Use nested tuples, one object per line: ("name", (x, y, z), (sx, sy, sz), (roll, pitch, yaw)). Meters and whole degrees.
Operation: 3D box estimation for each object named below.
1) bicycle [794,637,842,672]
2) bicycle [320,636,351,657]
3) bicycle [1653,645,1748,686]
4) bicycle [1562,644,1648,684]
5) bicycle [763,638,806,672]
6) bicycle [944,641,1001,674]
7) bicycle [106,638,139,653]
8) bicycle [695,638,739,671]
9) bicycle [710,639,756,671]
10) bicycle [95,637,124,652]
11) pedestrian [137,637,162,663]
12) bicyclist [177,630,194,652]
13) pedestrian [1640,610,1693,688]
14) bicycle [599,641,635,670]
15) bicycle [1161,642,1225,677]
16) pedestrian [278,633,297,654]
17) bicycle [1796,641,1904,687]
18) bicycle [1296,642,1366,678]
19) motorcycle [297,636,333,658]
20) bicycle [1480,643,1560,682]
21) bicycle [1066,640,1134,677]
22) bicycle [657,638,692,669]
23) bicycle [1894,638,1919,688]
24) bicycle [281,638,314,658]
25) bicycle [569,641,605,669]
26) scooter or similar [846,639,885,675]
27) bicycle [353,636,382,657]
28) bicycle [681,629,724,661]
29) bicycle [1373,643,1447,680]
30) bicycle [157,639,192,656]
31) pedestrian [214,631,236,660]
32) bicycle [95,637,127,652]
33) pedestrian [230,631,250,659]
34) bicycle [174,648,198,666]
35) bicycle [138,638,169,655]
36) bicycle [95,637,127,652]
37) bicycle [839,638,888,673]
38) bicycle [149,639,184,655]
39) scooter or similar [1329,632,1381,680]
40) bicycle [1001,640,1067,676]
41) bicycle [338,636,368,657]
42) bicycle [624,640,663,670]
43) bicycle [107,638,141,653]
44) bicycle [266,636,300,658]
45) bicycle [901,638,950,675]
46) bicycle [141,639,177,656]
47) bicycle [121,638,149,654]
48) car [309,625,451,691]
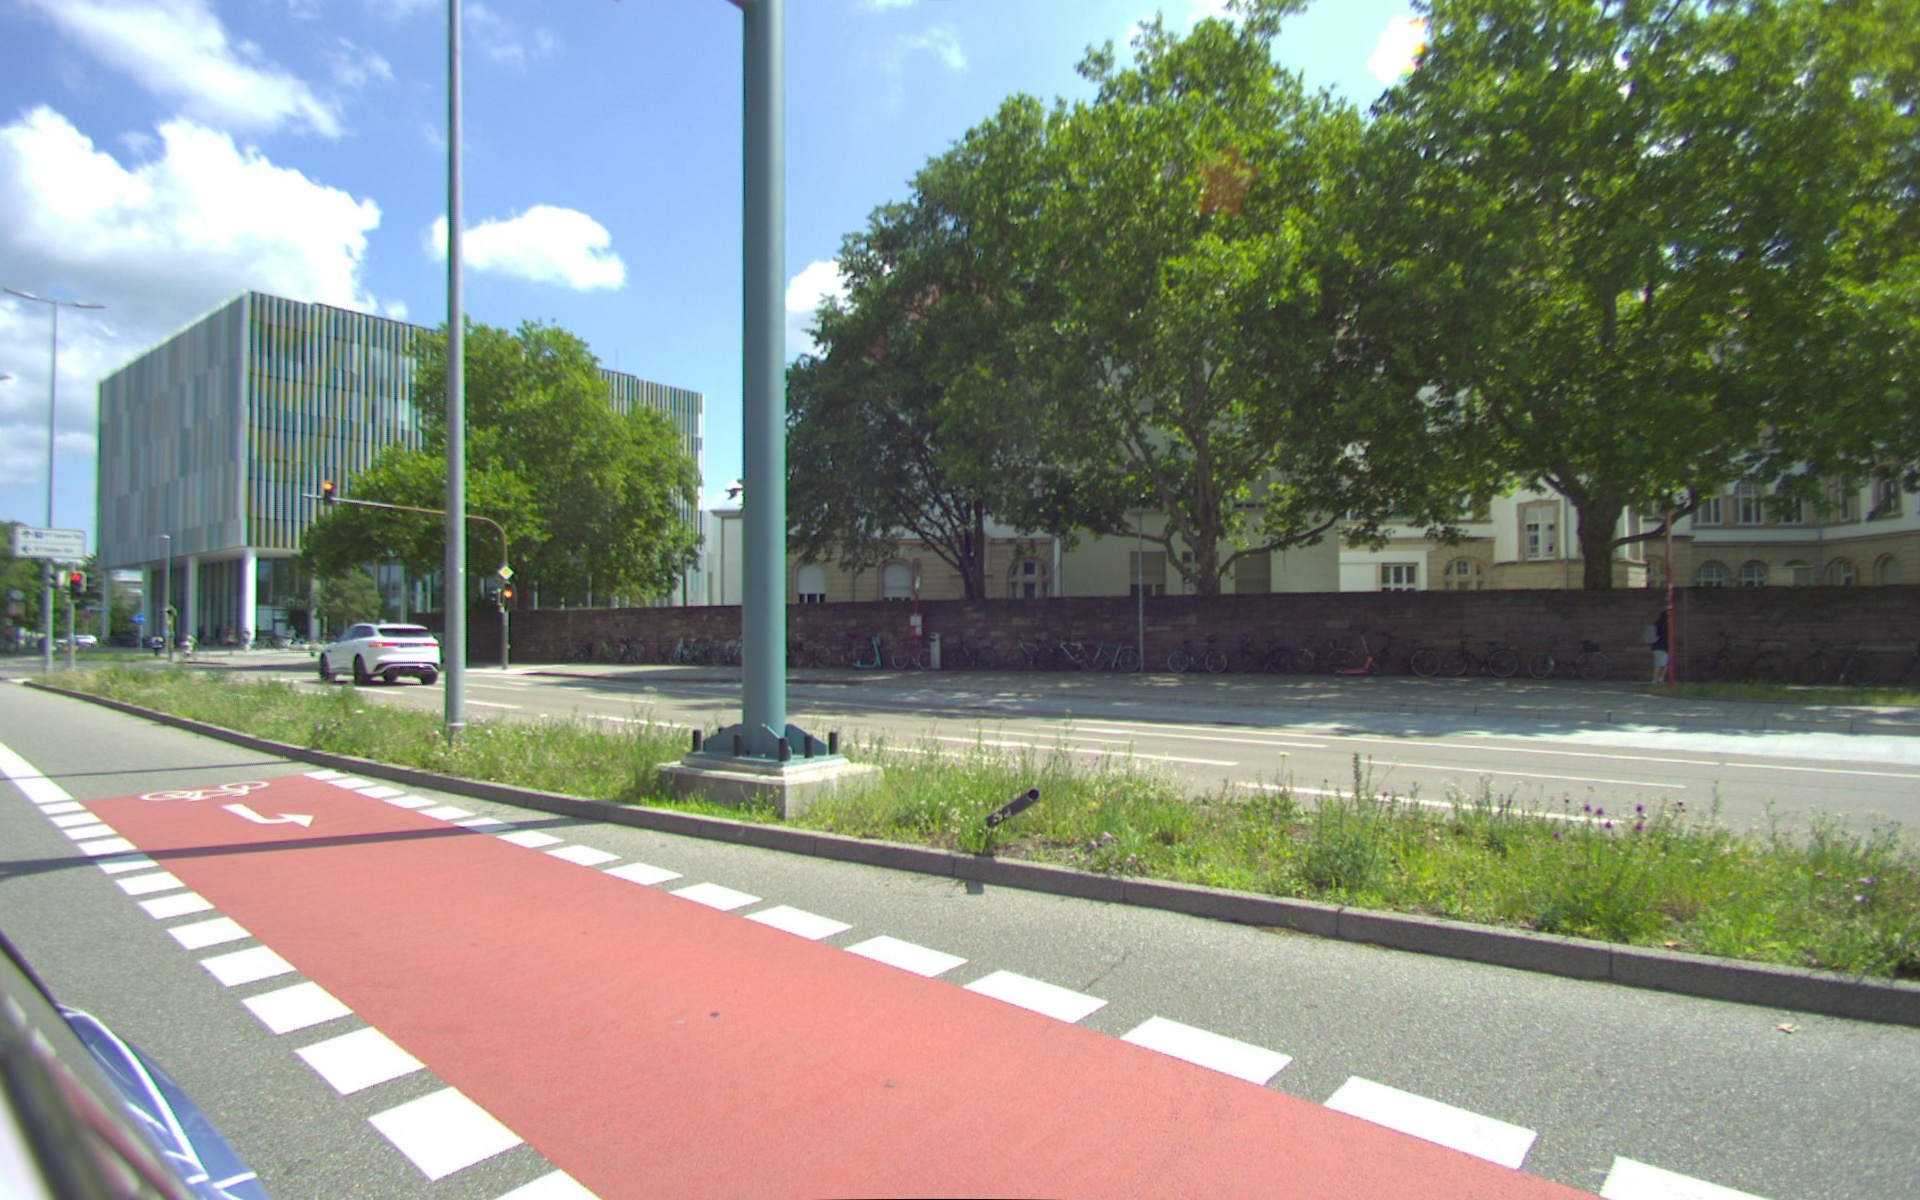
("bicycle", (-4.844, 1.867, 34.549), (1.582, 1.161, 0.530), (-1, -2, 20))
("bicycle", (-49.126, 3.631, 79.648), (1.034, 1.564, 3.423), (0, -2, -13))
("bicycle", (17.011, 1.497, 23.298), (1.656, 0.909, 0.540), (-1, -2, 26))
("bicycle", (15.193, 1.503, 23.858), (1.663, 0.909, 0.497), (-2, -2, 38))
("bicycle", (-6.189, 1.932, 35.673), (1.587, 1.161, 0.398), (-2, -2, 30))
("bicycle", (0.374, 1.787, 31.660), (1.795, 1.016, 0.476), (-2, -2, 32))
("bicycle", (-84.152, 4.536, 101.729), (0.621, 1.506, 2.479), (-2, -2, 41))
("bicycle", (-8.945, 2.004, 37.266), (1.576, 1.161, 0.401), (-1, -2, 8))
("bicycle", (-8.228, 1.992, 36.700), (1.576, 1.161, 0.401), (-1, -2, 8))
("bicycle", (-88.522, 4.617, 105.353), (0.656, 1.506, 2.273), (-2, -2, 41))
("pedestrian", (-52.282, 3.221, 65.295), (0.875, 1.641, 0.962), (-1, -2, 29))
("bicyclist", (-45.819, 2.427, 59.876), (0.608, 1.235, 0.836), (0, -2, -24))
("pedestrian", (15.228, 1.046, 21.826), (0.752, 1.629, 0.612), (-1, -1, 20))
("bicycle", (-13.796, 2.232, 40.692), (1.589, 1.161, 0.495), (-2, -2, 33))
("bicycle", (6.442, 1.641, 28.002), (1.658, 0.956, 0.540), (-2, -2, 29))
("pedestrian", (-57.435, 3.713, 86.413), (0.997, 1.720, 1.214), (0, -2, -15))
("bicycle", (19.552, 1.400, 22.271), (1.655, 0.959, 0.541), (-1, -2, 25))
("bicycle", (9.748, 1.565, 26.604), (1.658, 0.909, 0.540), (-1, -2, 29))
("motorcycle", (-50.568, 3.651, 79.431), (0.957, 1.652, 3.301), (0, -2, -5))
("bicycle", (13.682, 1.516, 24.776), (1.656, 0.909, 0.540), (-1, -2, 26))
("bicycle", (4.059, 1.686, 29.407), (1.887, 1.055, 0.540), (-2, -2, 29))
("bicycle", (-10.998, 2.046, 38.920), (1.591, 1.161, 0.408), (-2, -3, 36))
("bicycle", (21.079, 1.335, 21.559), (1.614, 1.059, 0.541), (-1, -2, 24))
("bicycle", (-51.903, 3.754, 79.318), (0.919, 1.505, 2.690), (0, -2, -4))
("bicycle", (-15.388, 2.269, 41.735), (1.589, 1.107, 0.567), (-2, -2, 33))
("scooter or similar", (-3.075, 1.850, 32.878), (1.184, 1.161, 0.430), (-1, -2, 20))
("bicycle", (-46.609, 3.637, 79.659), (0.983, 1.564, 3.423), (0, -2, -13))
("bicycle", (-9.652, 1.682, 37.948), (1.581, 1.161, 0.400), (-1, -2, 18))
("bicycle", (11.442, 1.543, 25.732), (1.658, 0.909, 0.540), (-2, -2, 29))
("bicycle", (-71.566, 4.324, 92.175), (2.473, 1.506, 0.731), (1, -2, -39))
("pedestrian", (-49.837, 3.100, 68.637), (0.955, 1.940, 0.882), (0, -2, -20))
("bicycle", (-87.609, 4.596, 104.442), (0.621, 1.506, 2.479), (-2, -2, 41))
("pedestrian", (-50.621, 3.178, 71.202), (0.955, 1.940, 0.882), (0, -2, -23))
("bicycle", (-45.866, 3.379, 59.985), (0.636, 1.006, 2.170), (0, -2, -23))
("bicycle", (-76.219, 4.400, 95.614), (0.621, 1.506, 2.172), (-2, -2, 41))
("bicycle", (-87.148, 4.584, 103.903), (0.621, 1.506, 2.479), (-2, -2, 41))
("bicycle", (-3.221, 1.851, 33.776), (1.582, 1.161, 0.530), (-1, -2, 20))
("bicycle", (-74.178, 4.380, 94.628), (0.621, 1.506, 2.479), (-2, -2, 41))
("scooter or similar", (10.029, 1.426, 25.707), (1.184, 1.192, 0.430), (-1, -2, 20))
("bicycle", (2.213, 1.735, 30.557), (1.941, 1.055, 0.540), (-2, -2, 29))
("bicycle", (-47.770, 3.634, 79.648), (0.983, 1.564, 3.423), (0, -2, -13))
("bicycle", (-12.428, 2.143, 39.748), (1.589, 1.161, 0.616), (-2, -2, 33))
("bicycle", (-83.368, 4.518, 100.933), (0.621, 1.506, 2.479), (-2, -2, 41))
("bicycle", (-52.946, 3.666, 79.222), (0.797, 1.656, 3.420), (0, -2, -8))
("bicycle", (-1.106, 1.804, 32.546), (1.587, 1.152, 0.429), (-2, -2, 29))
("bicycle", (-73.970, 4.352, 93.481), (0.621, 1.506, 2.479), (-2, -2, 41))
("bicycle", (-81.161, 4.489, 99.575), (0.621, 1.506, 2.044), (-2, -2, 41))
("car", (-16.140, 1.568, 28.064), (4.774, 1.680, 2.048), (-2, -3, 42))
